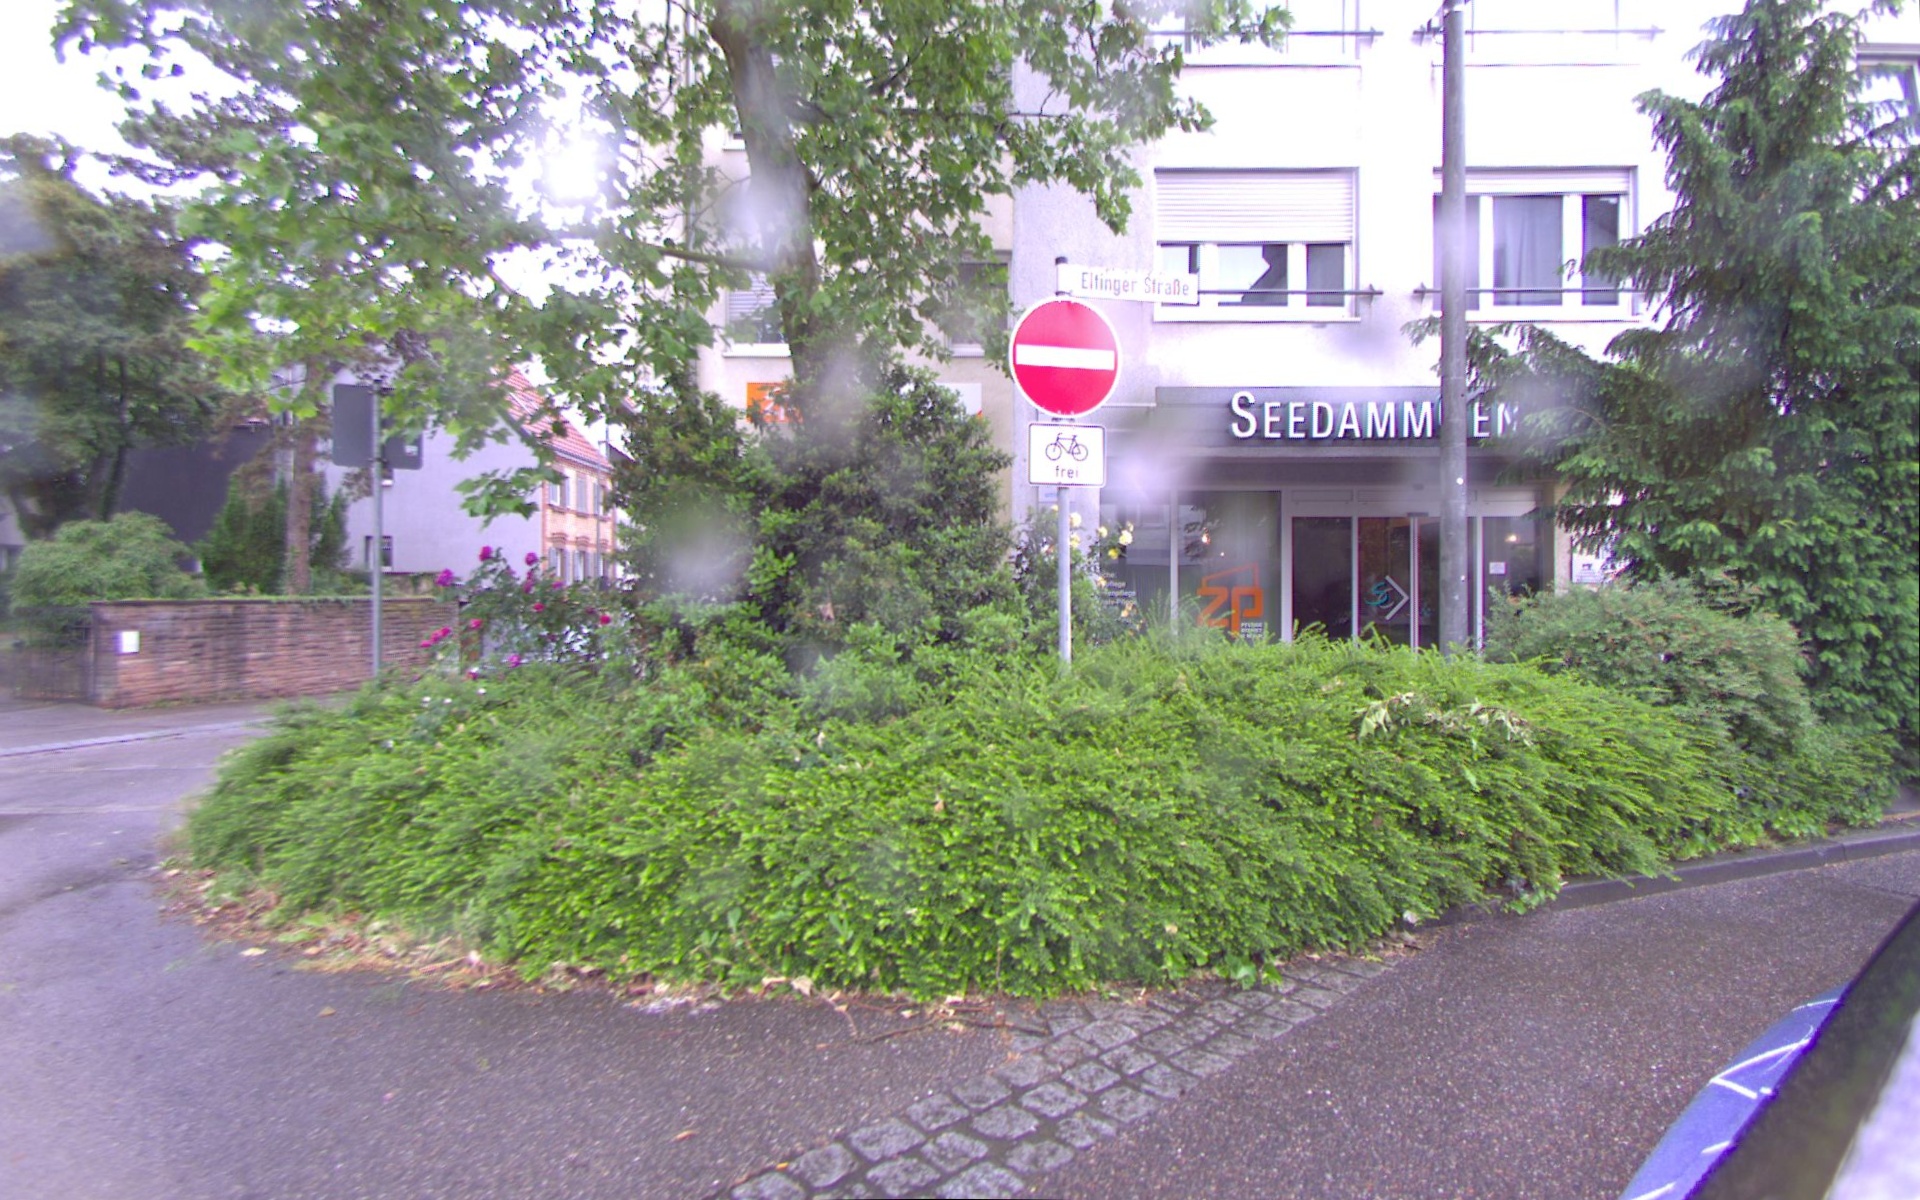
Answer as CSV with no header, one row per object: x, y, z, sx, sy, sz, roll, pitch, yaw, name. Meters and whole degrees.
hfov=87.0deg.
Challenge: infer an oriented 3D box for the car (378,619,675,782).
-6.891,1.617,16.597,1.988,1.662,3.971,24,3,20,car
